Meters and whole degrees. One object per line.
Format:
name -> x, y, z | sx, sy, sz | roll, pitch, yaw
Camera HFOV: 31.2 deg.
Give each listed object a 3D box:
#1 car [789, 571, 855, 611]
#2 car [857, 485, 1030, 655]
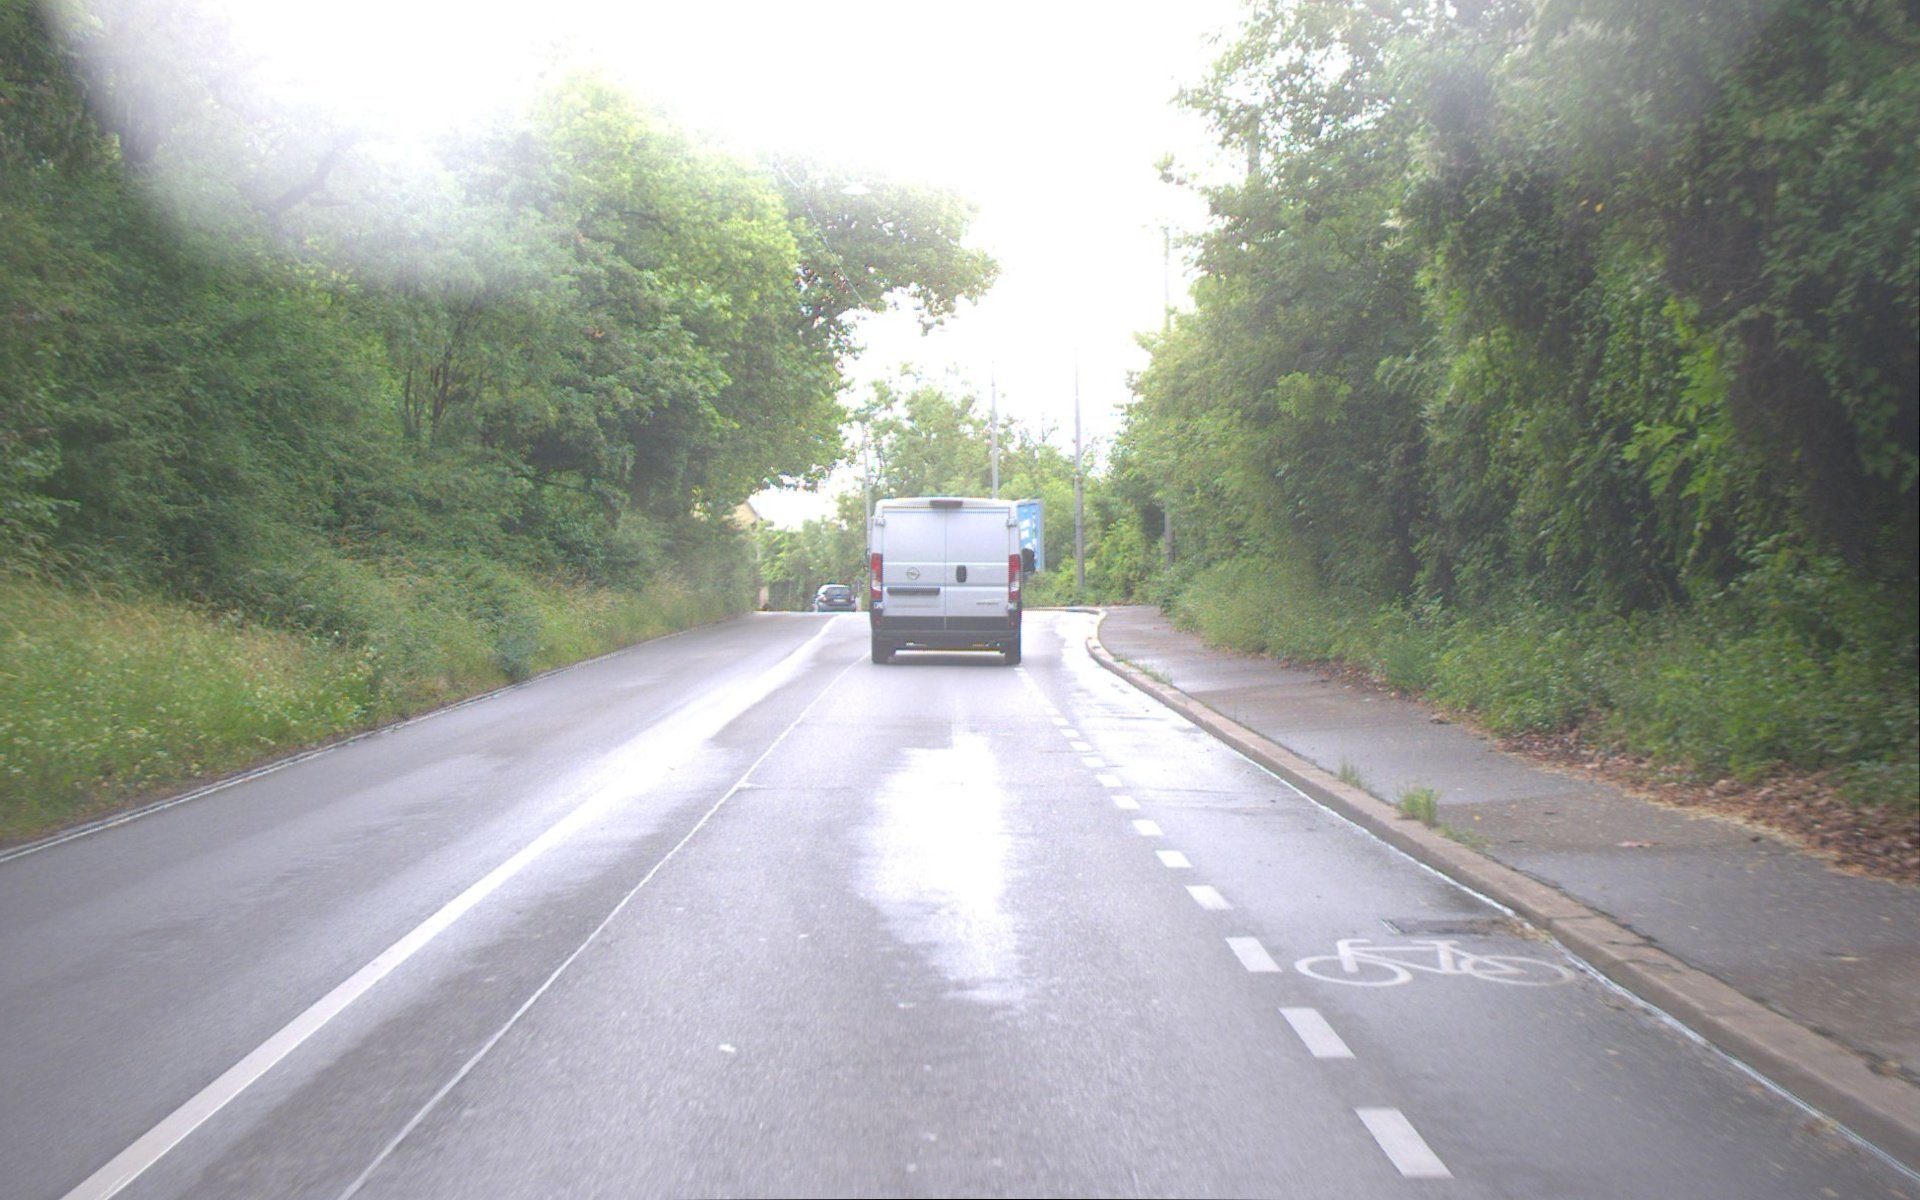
car -> -6.223, -0.422, 154.783 | 2.110, 1.705, 4.715 | 1, 1, -13
car -> -0.244, -0.428, 47.616 | 2.237, 2.205, 4.713 | 1, 1, -1
